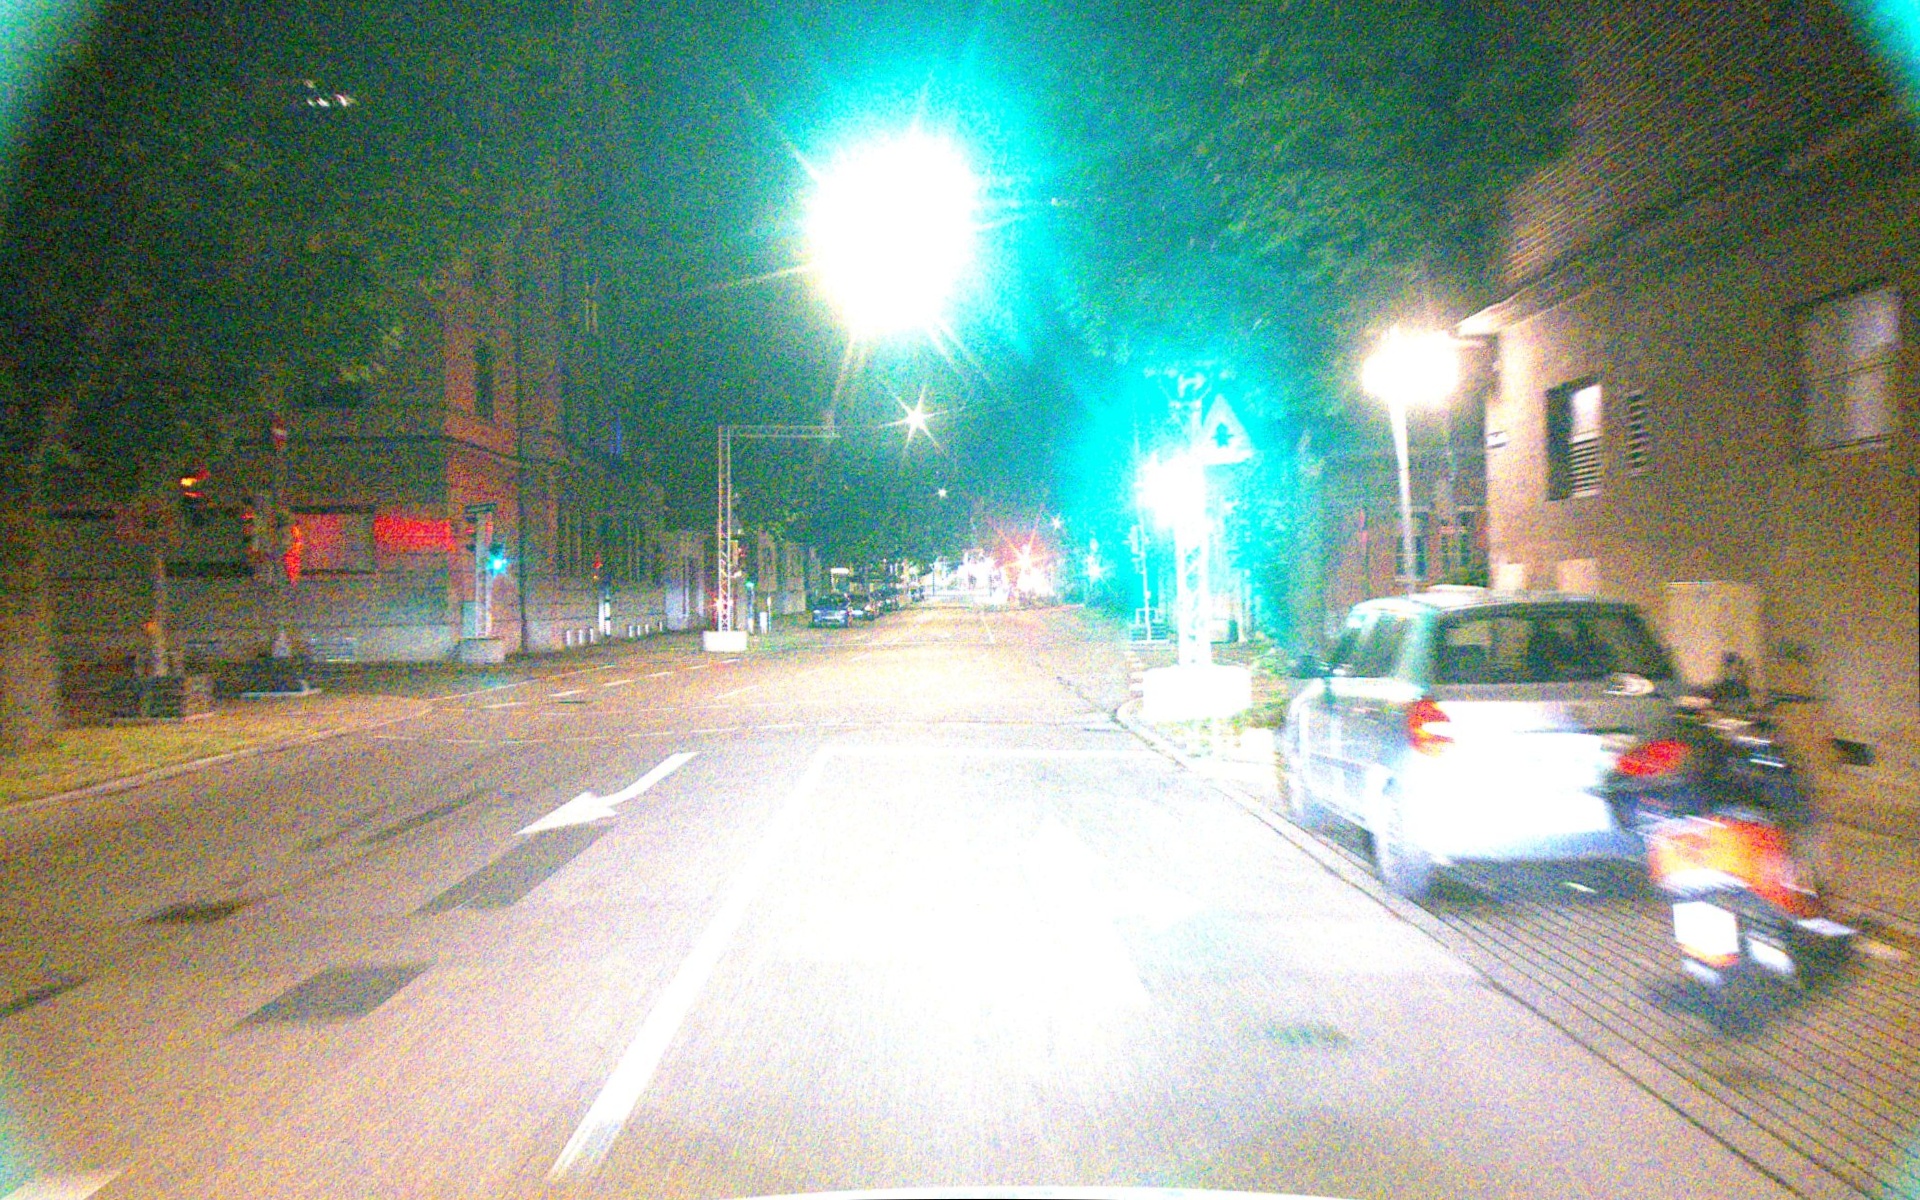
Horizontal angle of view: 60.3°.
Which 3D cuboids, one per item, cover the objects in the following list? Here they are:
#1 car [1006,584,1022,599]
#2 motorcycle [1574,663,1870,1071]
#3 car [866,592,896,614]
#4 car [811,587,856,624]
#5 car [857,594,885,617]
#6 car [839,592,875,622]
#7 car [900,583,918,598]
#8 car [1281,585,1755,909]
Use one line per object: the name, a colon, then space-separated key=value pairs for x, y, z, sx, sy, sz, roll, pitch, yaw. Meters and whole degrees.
car: x=5.643 y=-0.881 z=174.338 sx=1.617 sy=1.456 sz=4.001 roll=-2 pitch=0 yaw=2
motorcycle: x=2.933 y=0.865 z=6.222 sx=0.713 sy=1.150 sz=2.221 roll=0 pitch=0 yaw=33
car: x=-5.516 y=0.210 z=116.021 sx=1.860 sy=1.497 sz=4.452 roll=0 pitch=1 yaw=0
car: x=-5.571 y=0.256 z=73.218 sx=1.679 sy=1.520 sz=3.989 roll=0 pitch=-2 yaw=0
car: x=-5.514 y=0.333 z=102.859 sx=1.590 sy=1.407 sz=4.450 roll=-2 pitch=0 yaw=-2
car: x=-5.524 y=0.359 z=89.341 sx=1.732 sy=1.511 sz=4.766 roll=-2 pitch=0 yaw=-1
car: x=-5.293 y=-1.010 z=171.710 sx=1.617 sy=1.456 sz=4.000 roll=-2 pitch=0 yaw=0
car: x=2.938 y=0.667 z=9.528 sx=1.554 sy=1.486 sz=3.798 roll=0 pitch=0 yaw=2
